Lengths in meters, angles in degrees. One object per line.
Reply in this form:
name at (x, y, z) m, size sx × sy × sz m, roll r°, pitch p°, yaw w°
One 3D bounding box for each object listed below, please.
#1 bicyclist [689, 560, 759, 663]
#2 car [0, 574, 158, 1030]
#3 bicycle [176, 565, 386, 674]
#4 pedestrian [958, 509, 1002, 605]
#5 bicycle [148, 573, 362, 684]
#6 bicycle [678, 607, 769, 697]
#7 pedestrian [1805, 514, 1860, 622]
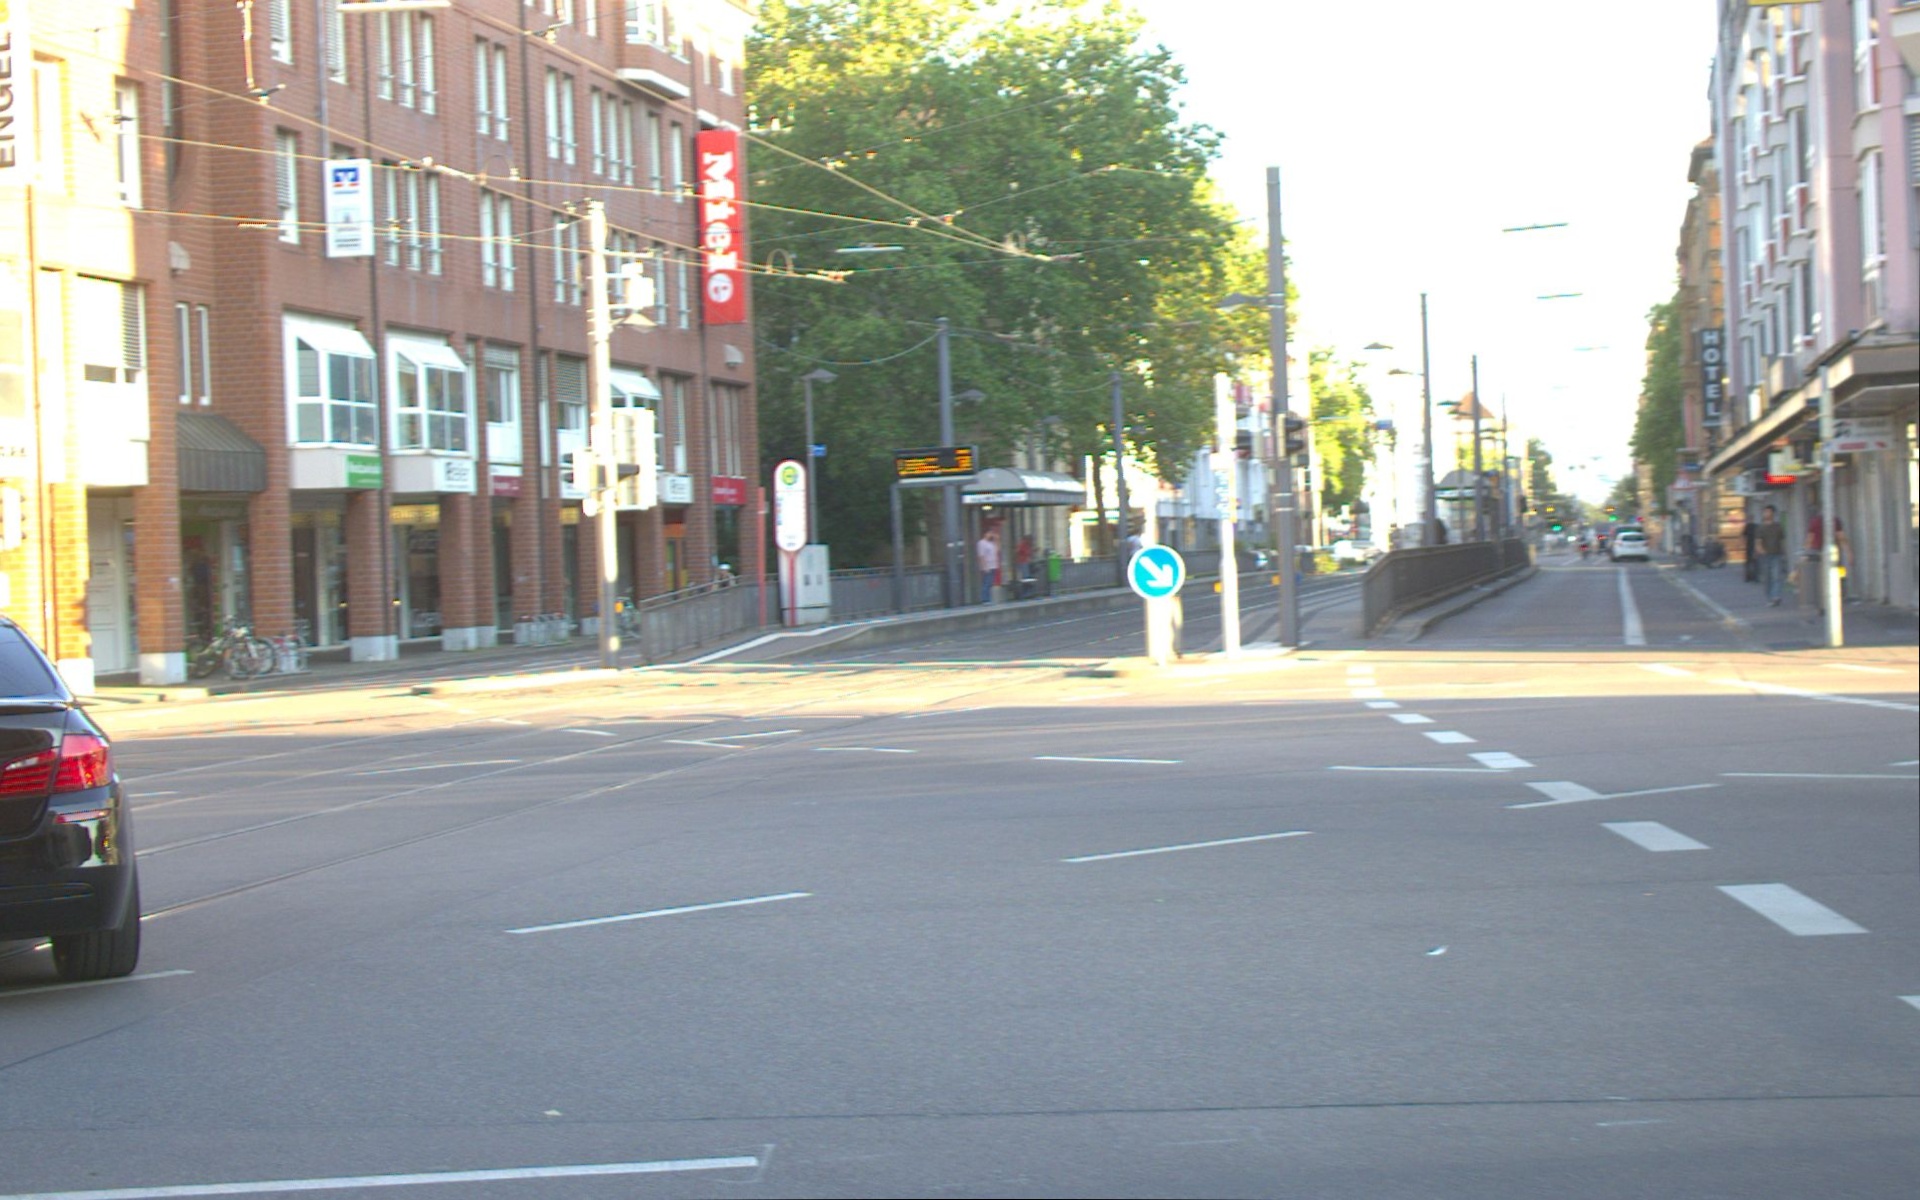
bicyclist at (-5.816, 0.274, 84.810) m, size 1.291 × 2.460 × 1.668 m, roll -2°, pitch 1°, yaw 9°
car at (-4.471, 0.708, 13.427) m, size 1.841 × 1.490 × 4.293 m, roll -4°, pitch 2°, yaw -23°
bicycle at (-11.593, 0.326, 58.722) m, size 3.298 × 1.720 × 1.069 m, roll -2°, pitch 1°, yaw 9°
pedestrian at (0.430, -0.929, 73.469) m, size 0.808 × 2.007 × 0.678 m, roll -2°, pitch 1°, yaw 7°
bicycle at (-11.803, 0.474, 57.575) m, size 3.298 × 1.720 × 1.069 m, roll -2°, pitch 1°, yaw 11°
bicycle at (-5.808, 1.258, 84.694) m, size 1.295 × 2.007 × 3.947 m, roll -2°, pitch 1°, yaw 9°
pedestrian at (13.016, -0.478, 51.302) m, size 0.706 × 1.543 × 0.907 m, roll -1°, pitch 4°, yaw 8°
